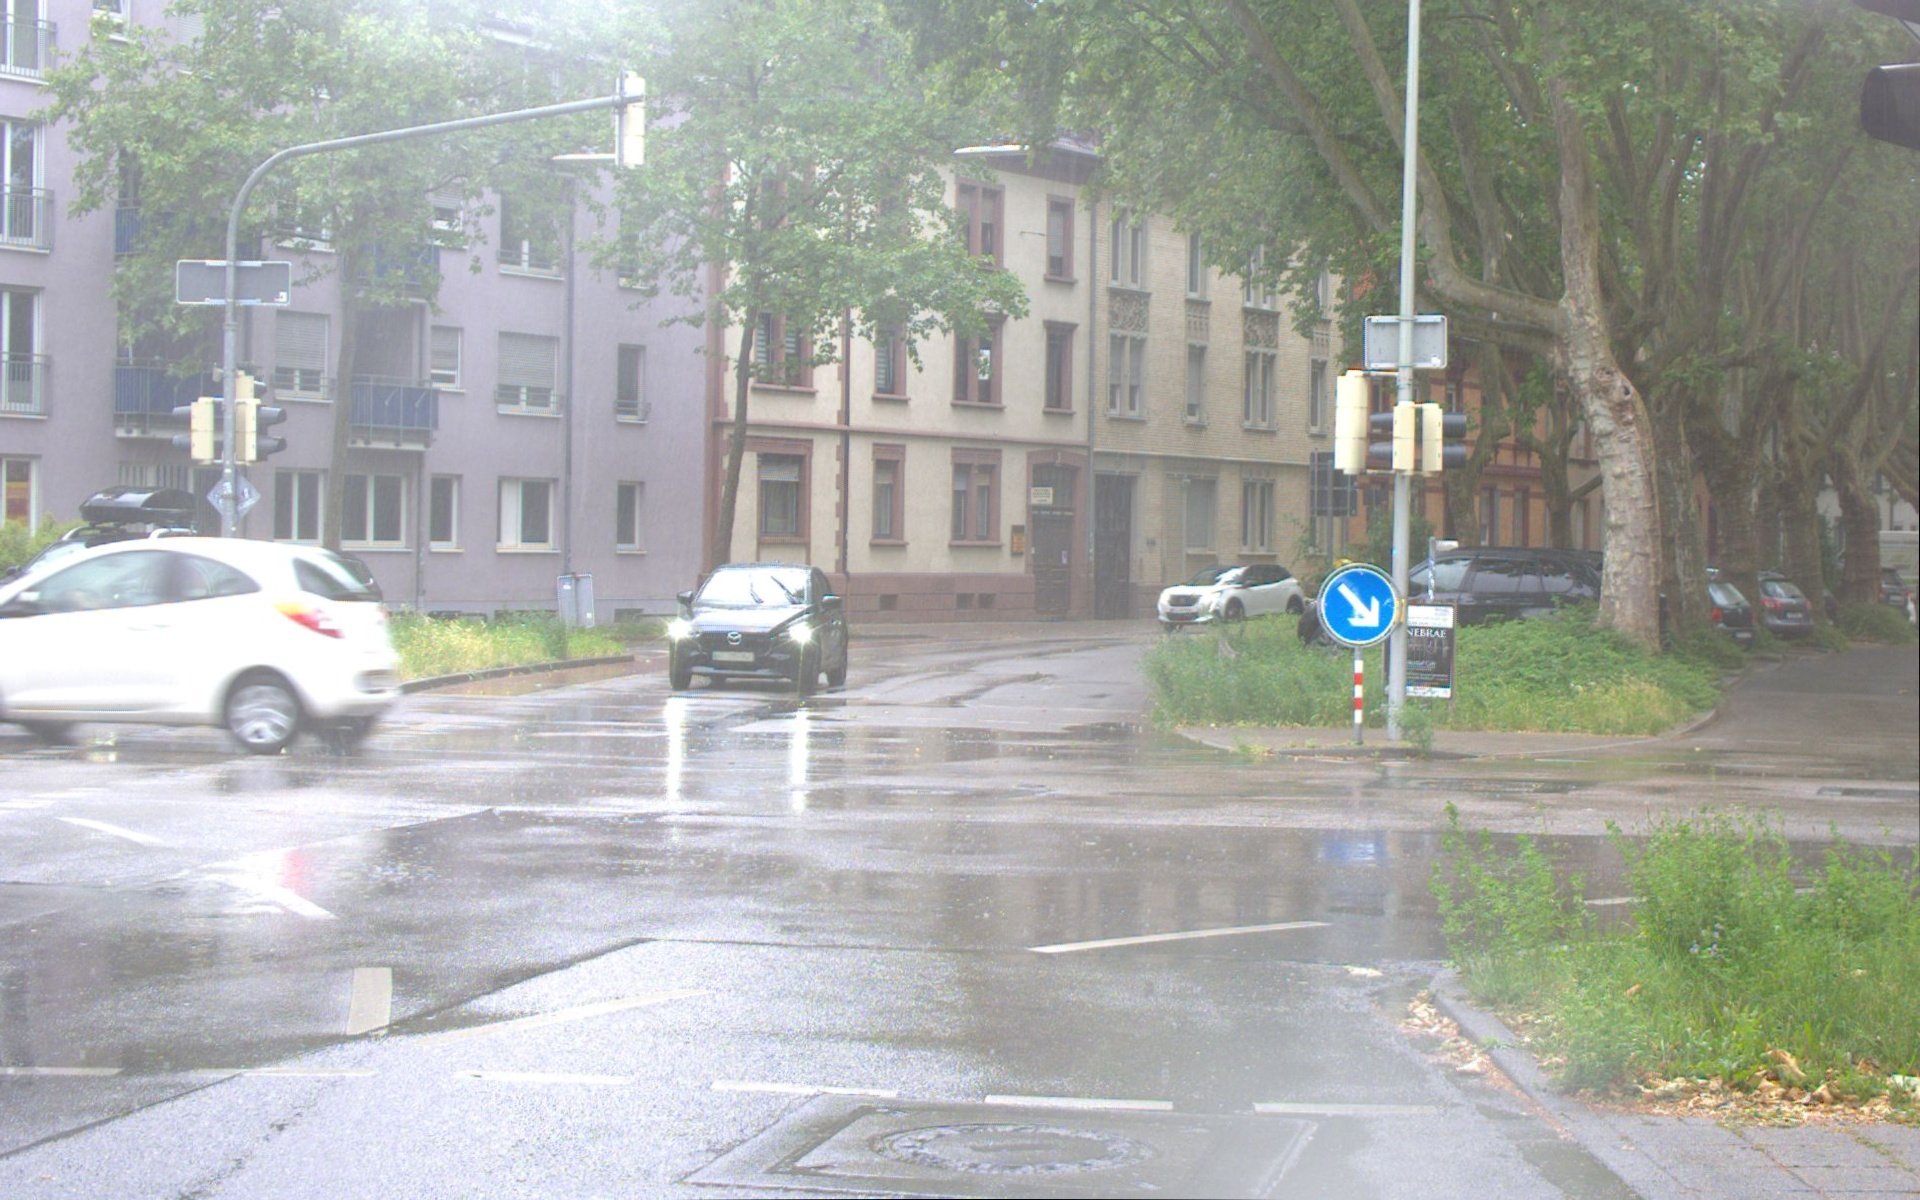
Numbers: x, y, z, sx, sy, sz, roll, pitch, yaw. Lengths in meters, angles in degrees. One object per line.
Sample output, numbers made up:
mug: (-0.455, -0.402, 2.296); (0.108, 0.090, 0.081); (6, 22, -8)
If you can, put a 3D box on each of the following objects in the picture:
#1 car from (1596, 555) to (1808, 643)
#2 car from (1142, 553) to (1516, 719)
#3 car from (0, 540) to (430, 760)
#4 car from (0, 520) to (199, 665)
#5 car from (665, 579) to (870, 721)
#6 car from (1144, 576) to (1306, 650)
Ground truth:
car: (14.121, -0.034, 65.451); (3.611, 1.612, 1.679); (0, 1, 28)
car: (3.556, 0.333, 33.003); (3.480, 1.518, 1.519); (-1, 1, 9)
car: (-5.824, 0.337, 24.529); (3.643, 1.481, 1.724); (0, 1, 12)
car: (-9.962, -0.115, 38.633); (1.725, 1.547, 3.559); (-1, 1, 5)
car: (-2.232, 0.560, 40.659); (1.603, 1.547, 3.558); (0, 1, 10)
car: (6.018, 0.274, 77.782); (1.680, 1.547, 4.190); (0, 1, 36)
